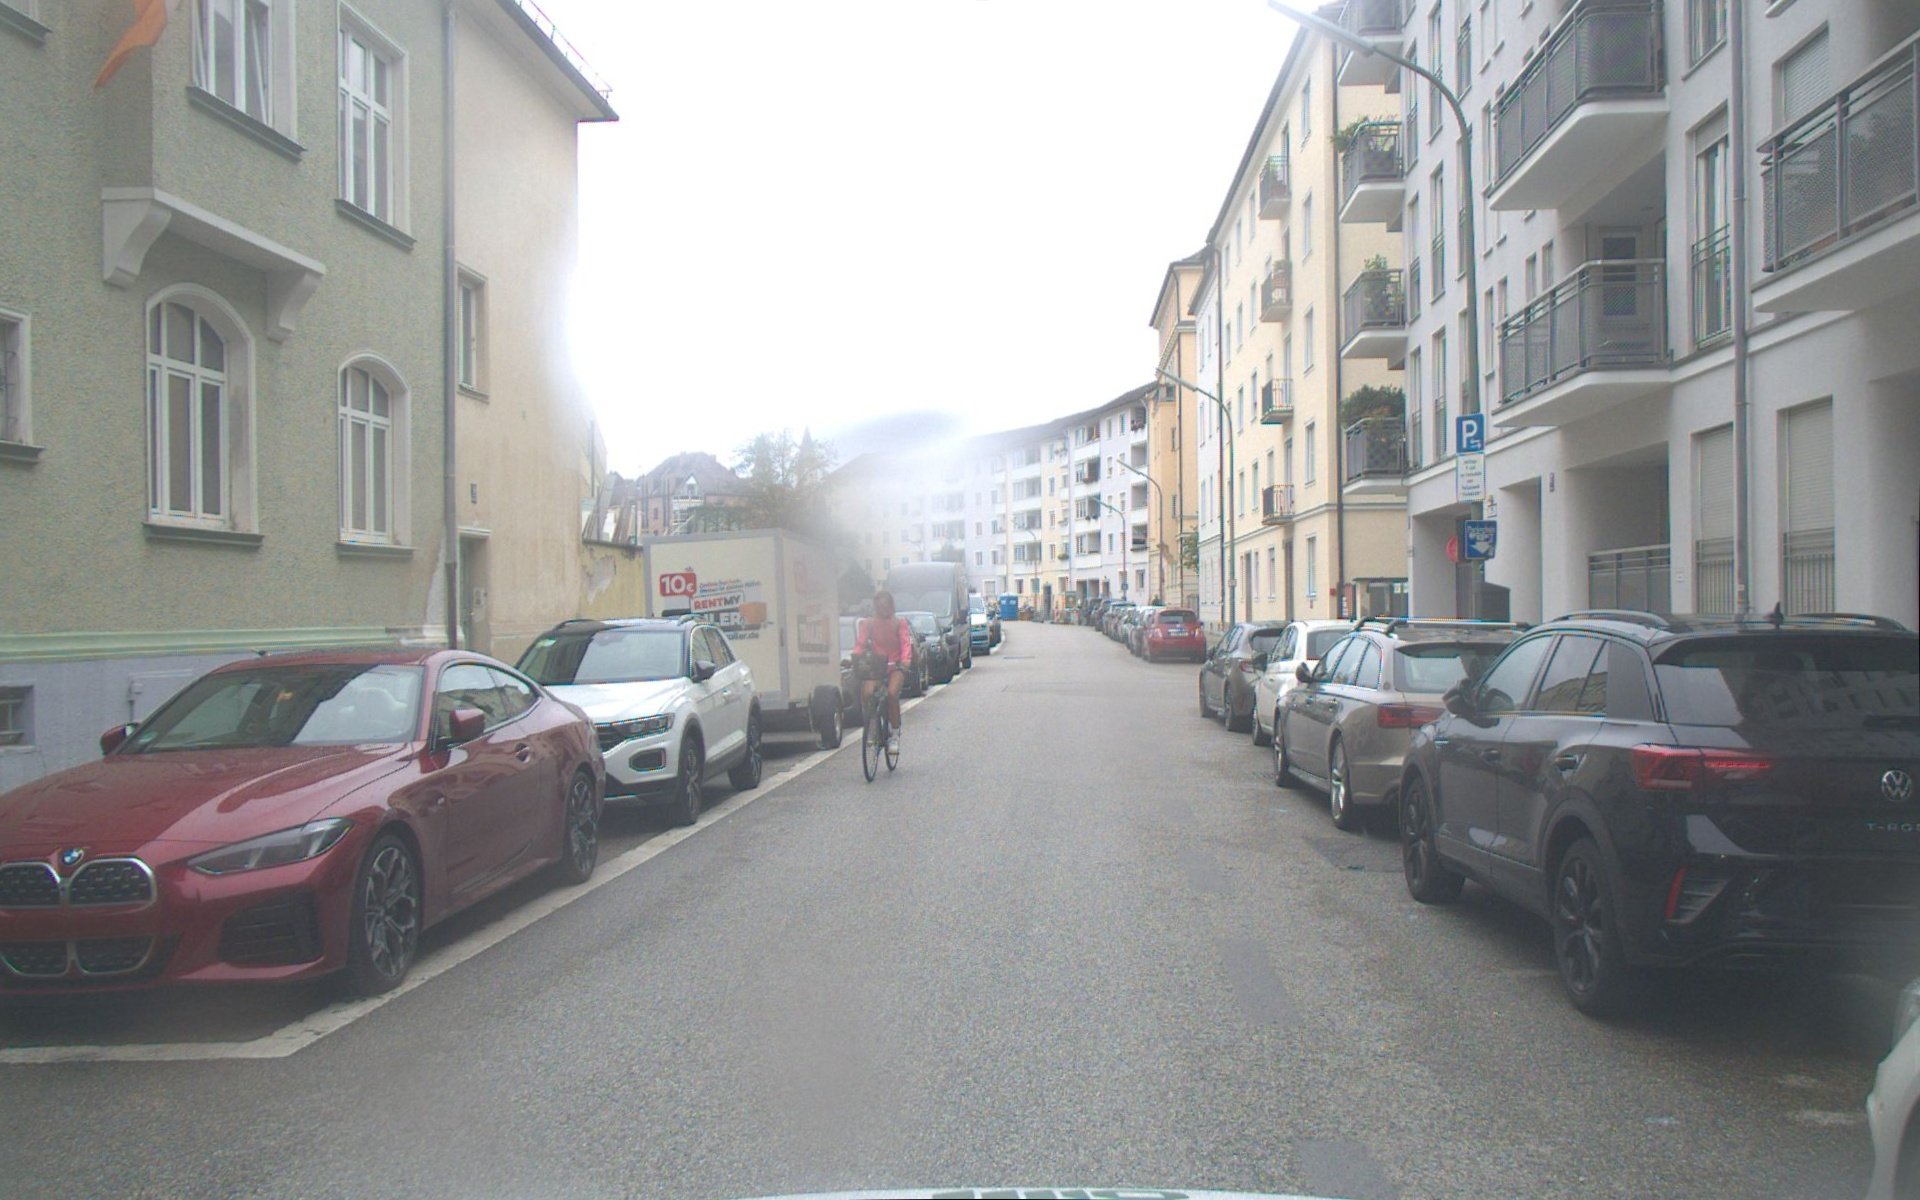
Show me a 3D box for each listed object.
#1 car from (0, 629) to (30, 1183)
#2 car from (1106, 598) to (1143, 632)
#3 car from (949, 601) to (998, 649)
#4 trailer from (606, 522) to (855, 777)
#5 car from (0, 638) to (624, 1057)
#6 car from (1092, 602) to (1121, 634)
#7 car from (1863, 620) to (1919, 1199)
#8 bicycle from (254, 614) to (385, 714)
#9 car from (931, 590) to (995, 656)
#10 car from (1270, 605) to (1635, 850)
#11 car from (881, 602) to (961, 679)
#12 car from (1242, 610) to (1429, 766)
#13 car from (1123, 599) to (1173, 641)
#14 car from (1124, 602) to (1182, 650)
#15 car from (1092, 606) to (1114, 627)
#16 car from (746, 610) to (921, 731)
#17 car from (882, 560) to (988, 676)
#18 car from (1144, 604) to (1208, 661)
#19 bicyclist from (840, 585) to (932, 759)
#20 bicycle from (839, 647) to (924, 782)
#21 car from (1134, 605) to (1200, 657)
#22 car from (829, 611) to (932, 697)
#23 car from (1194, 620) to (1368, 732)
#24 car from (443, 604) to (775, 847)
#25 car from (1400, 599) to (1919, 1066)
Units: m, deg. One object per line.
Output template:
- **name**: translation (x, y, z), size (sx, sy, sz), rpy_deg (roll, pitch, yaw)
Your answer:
- **car**: translation (-3.401, 0.848, 2.969), size (1.442, 1.492, 3.314), rpy_deg (-2, 0, 2)
- **car**: translation (8.154, 0.714, 82.241), size (1.557, 1.610, 4.300), rpy_deg (1, 0, 2)
- **car**: translation (0.550, 0.941, 63.911), size (1.666, 1.720, 4.029), rpy_deg (-3, 0, 3)
- **trailer**: translation (-2.465, 0.499, 18.872), size (1.673, 2.504, 4.389), rpy_deg (-3, 0, 7)
- **car**: translation (-3.127, 0.962, 8.175), size (1.822, 1.437, 4.335), rpy_deg (-3, -1, 2)
- **car**: translation (8.146, 0.975, 92.230), size (1.443, 1.669, 4.002), rpy_deg (1, 0, 2)
- **car**: translation (2.710, 0.796, 1.498), size (1.623, 1.465, 4.208), rpy_deg (2, 0, 3)
- **bicycle**: translation (-6.436, 0.617, 16.712), size (0.512, 0.922, 1.929), rpy_deg (2, 0, 1)
- **car**: translation (0.140, 0.709, 54.109), size (1.843, 1.965, 4.602), rpy_deg (-3, 0, 2)
- **car**: translation (3.687, 0.850, 13.239), size (1.698, 1.557, 4.623), rpy_deg (2, 0, 3)
- **car**: translation (-0.808, 0.873, 36.079), size (1.553, 1.565, 3.544), rpy_deg (-1, -1, 1)
- **car**: translation (4.154, 0.914, 18.752), size (1.487, 1.557, 3.528), rpy_deg (1, 0, 3)
- **car**: translation (7.118, 0.742, 62.808), size (1.566, 1.517, 3.800), rpy_deg (0, 0, 2)
- **car**: translation (6.639, 0.877, 57.270), size (1.657, 1.517, 4.284), rpy_deg (-1, 1, 2)
- **car**: translation (9.016, 1.027, 104.156), size (1.245, 1.321, 2.798), rpy_deg (0, 0, 2)
- **car**: translation (-1.768, 0.979, 24.693), size (1.729, 1.565, 4.544), rpy_deg (-3, -1, 6)
- **car**: translation (-0.546, 0.399, 41.230), size (2.044, 2.682, 5.380), rpy_deg (-1, 0, 5)
- **car**: translation (6.108, 0.901, 47.077), size (1.562, 1.535, 3.802), rpy_deg (-1, 0, 4)
- **bicyclist**: translation (-0.691, 0.663, 15.694), size (0.679, 1.589, 0.967), rpy_deg (-2, 0, 6)
- **bicycle**: translation (-0.722, 1.054, 15.719), size (0.493, 1.148, 1.774), rpy_deg (-2, 0, 6)
- **car**: translation (6.406, 0.938, 51.526), size (1.657, 1.518, 4.344), rpy_deg (-1, -1, 2)
- **car**: translation (-1.438, 0.971, 31.265), size (1.665, 1.471, 3.825), rpy_deg (0, 1, 1)
- **car**: translation (4.401, 0.998, 23.226), size (1.727, 1.432, 4.079), rpy_deg (0, -1, 1)
- **car**: translation (-2.689, 0.893, 13.590), size (1.651, 1.631, 3.923), rpy_deg (-3, 0, 3)
- **car**: translation (3.278, 0.808, 7.621), size (1.570, 1.557, 3.985), rpy_deg (2, 0, 3)
